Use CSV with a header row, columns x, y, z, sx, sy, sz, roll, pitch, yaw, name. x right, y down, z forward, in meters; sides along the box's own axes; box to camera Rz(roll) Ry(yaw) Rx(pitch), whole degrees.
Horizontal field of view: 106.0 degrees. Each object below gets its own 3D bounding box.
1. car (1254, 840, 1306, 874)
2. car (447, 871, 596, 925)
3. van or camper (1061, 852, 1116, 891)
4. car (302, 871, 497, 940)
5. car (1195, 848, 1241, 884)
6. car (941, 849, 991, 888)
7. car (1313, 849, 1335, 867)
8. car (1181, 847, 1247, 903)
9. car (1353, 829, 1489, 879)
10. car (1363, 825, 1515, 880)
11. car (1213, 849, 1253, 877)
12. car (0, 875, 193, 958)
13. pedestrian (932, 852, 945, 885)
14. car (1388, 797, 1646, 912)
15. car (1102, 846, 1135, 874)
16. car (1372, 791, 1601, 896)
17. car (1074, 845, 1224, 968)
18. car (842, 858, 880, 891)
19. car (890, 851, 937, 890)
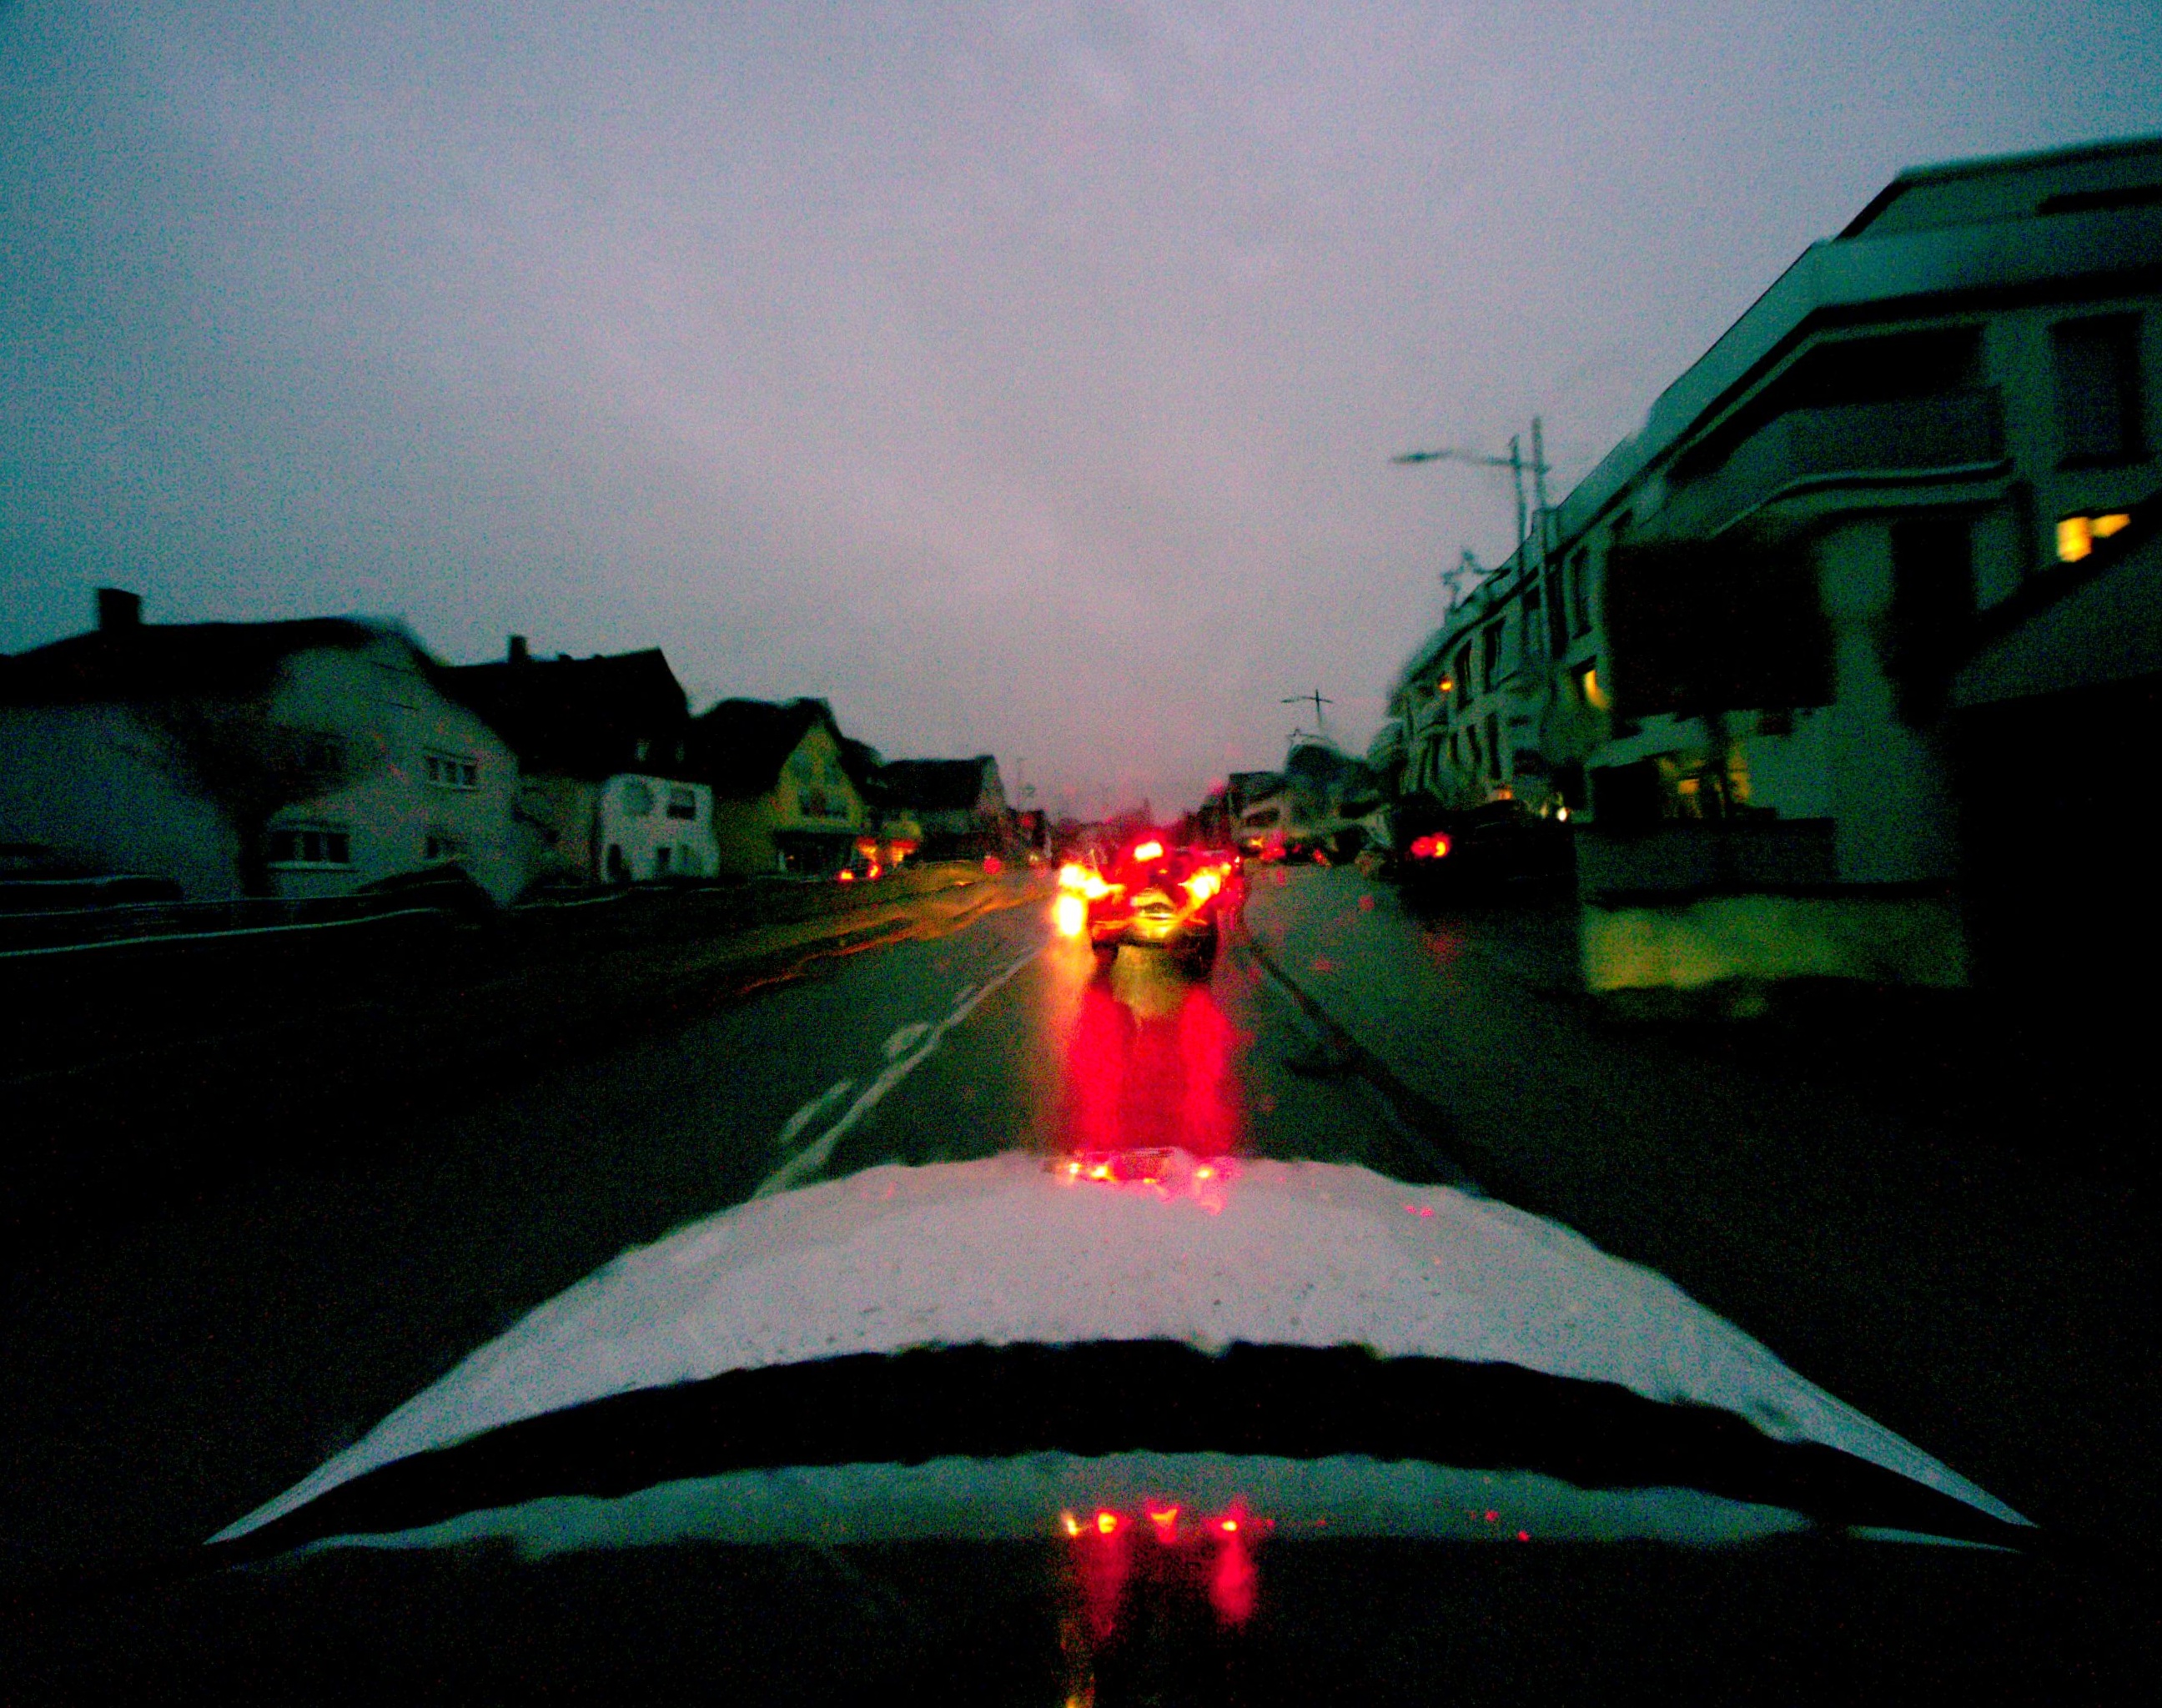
x,y,z,sx,sy,sz,roll,pitch,yaw,name
13.680,0.204,55.782,2.137,1.991,4.528,-5,-1,30,car
-19.237,1.478,28.272,1.900,1.562,4.226,-2,0,7,car
0.340,0.621,31.399,1.553,1.355,3.430,-2,0,9,van or camper
-19.670,1.423,23.796,1.902,1.682,4.222,-2,0,4,car
5.834,0.483,34.830,1.803,1.412,4.010,0,1,9,car
-6.310,0.763,44.321,2.042,1.925,4.033,-2,0,-17,car
21.019,0.335,70.499,1.554,1.413,3.615,-6,-1,14,car
3.841,0.553,23.346,1.672,1.453,4.012,-1,0,10,car
12.430,0.000,29.989,4.187,1.460,1.795,-4,-1,4,car
11.744,-0.037,26.928,4.187,1.460,1.795,-4,-1,4,car
8.208,0.471,44.218,1.981,1.391,4.011,-2,0,9,car
-23.961,1.462,19.176,3.973,1.694,1.865,-3,0,1,car
-7.654,0.786,43.786,0.497,1.701,0.709,-3,0,-17,pedestrian
8.788,0.007,16.691,4.160,1.639,1.805,-8,0,2,car
2.411,0.346,51.425,1.727,1.653,4.009,-2,0,7,car
9.899,-0.219,20.251,4.537,1.920,1.954,-7,-2,8,car
1.265,0.672,12.922,1.952,1.594,4.326,0,0,10,car
-11.906,1.068,43.954,1.826,1.613,4.033,-2,0,-17,car
-9.018,0.843,43.691,2.042,1.925,4.033,-2,0,-17,car
